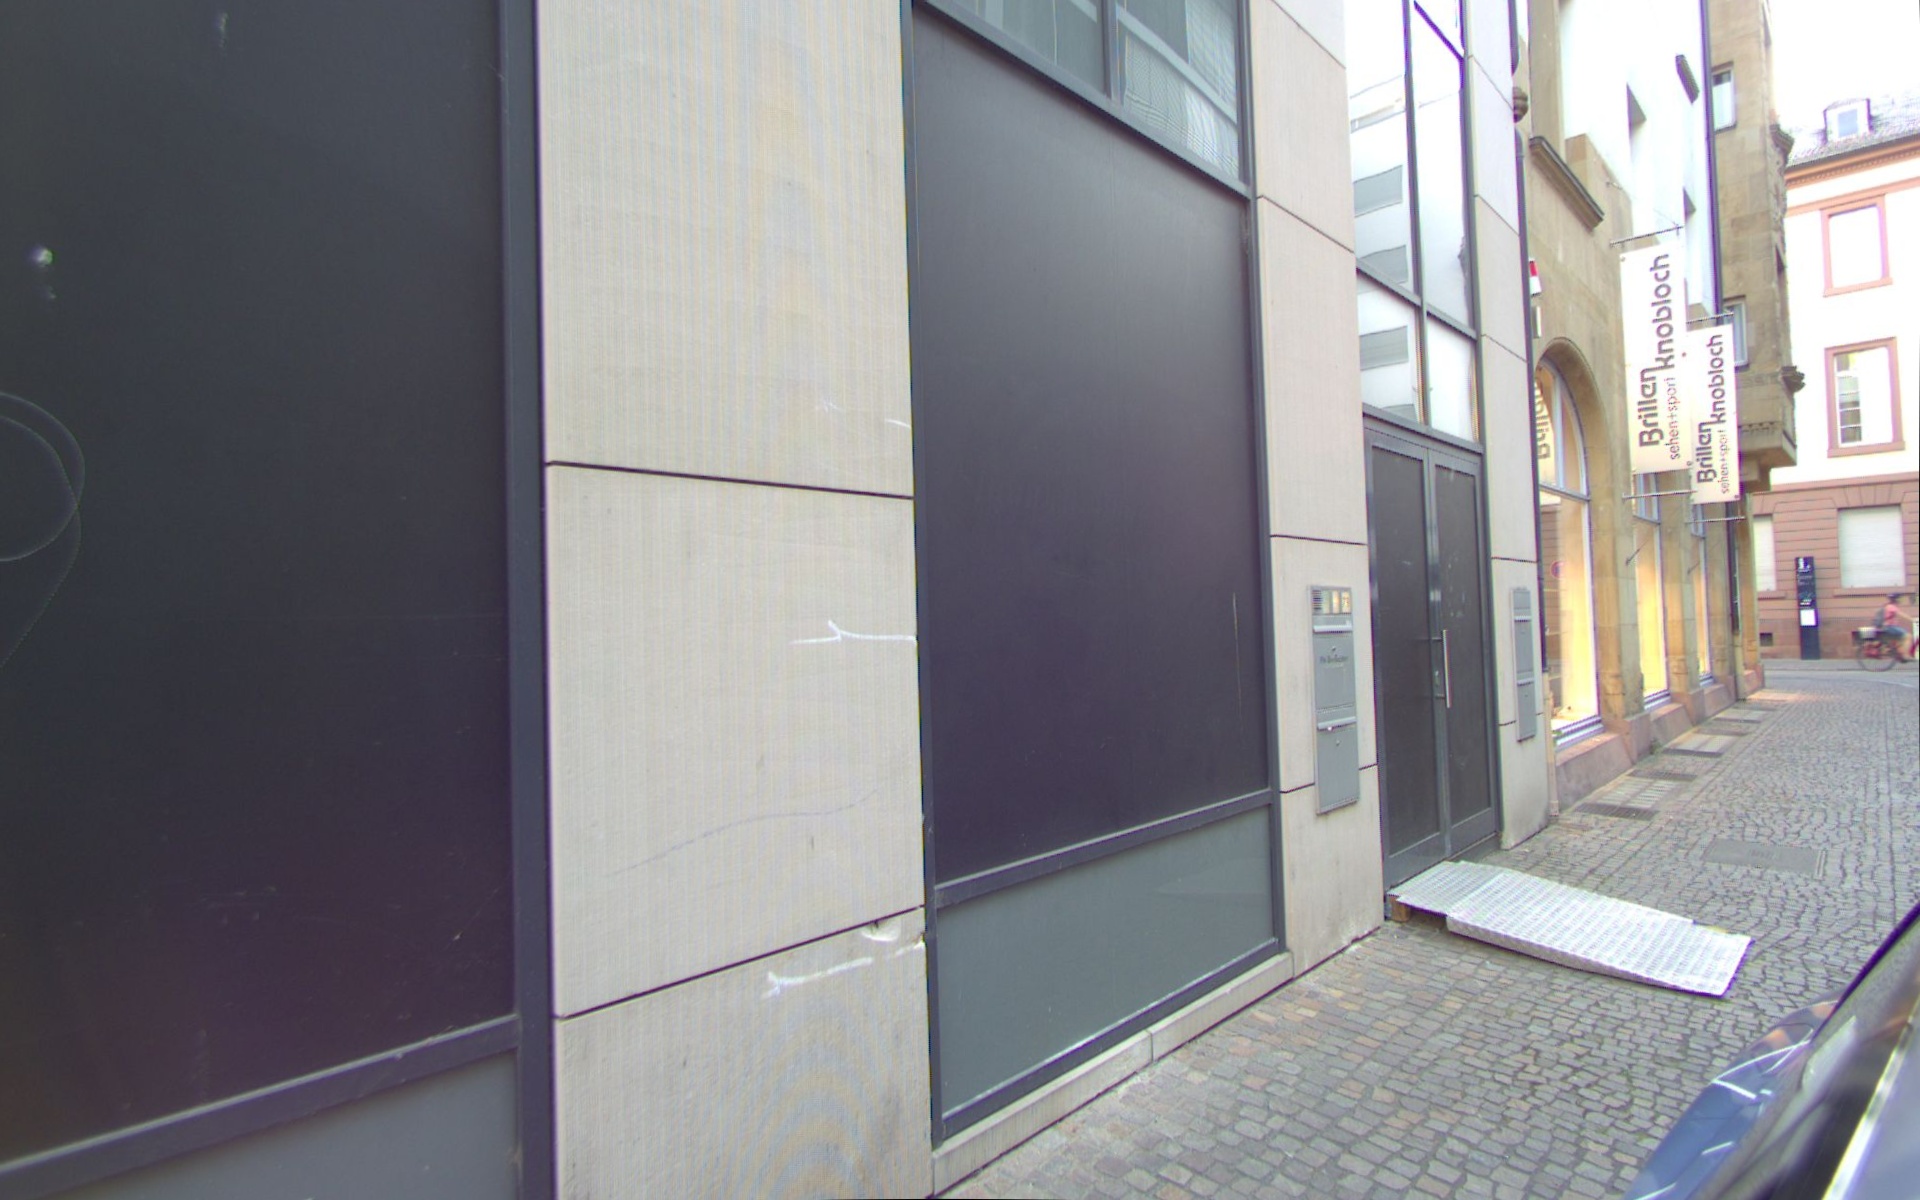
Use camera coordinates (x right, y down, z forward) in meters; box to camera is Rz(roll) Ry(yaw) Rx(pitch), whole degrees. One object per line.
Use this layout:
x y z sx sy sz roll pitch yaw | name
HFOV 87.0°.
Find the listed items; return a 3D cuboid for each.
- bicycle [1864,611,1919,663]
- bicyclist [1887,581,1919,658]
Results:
22.078 0.834 23.172 0.568 1.164 1.975 0 -3 -45 | bicycle
22.019 0.444 23.281 0.620 1.726 0.898 0 -3 -45 | bicyclist
